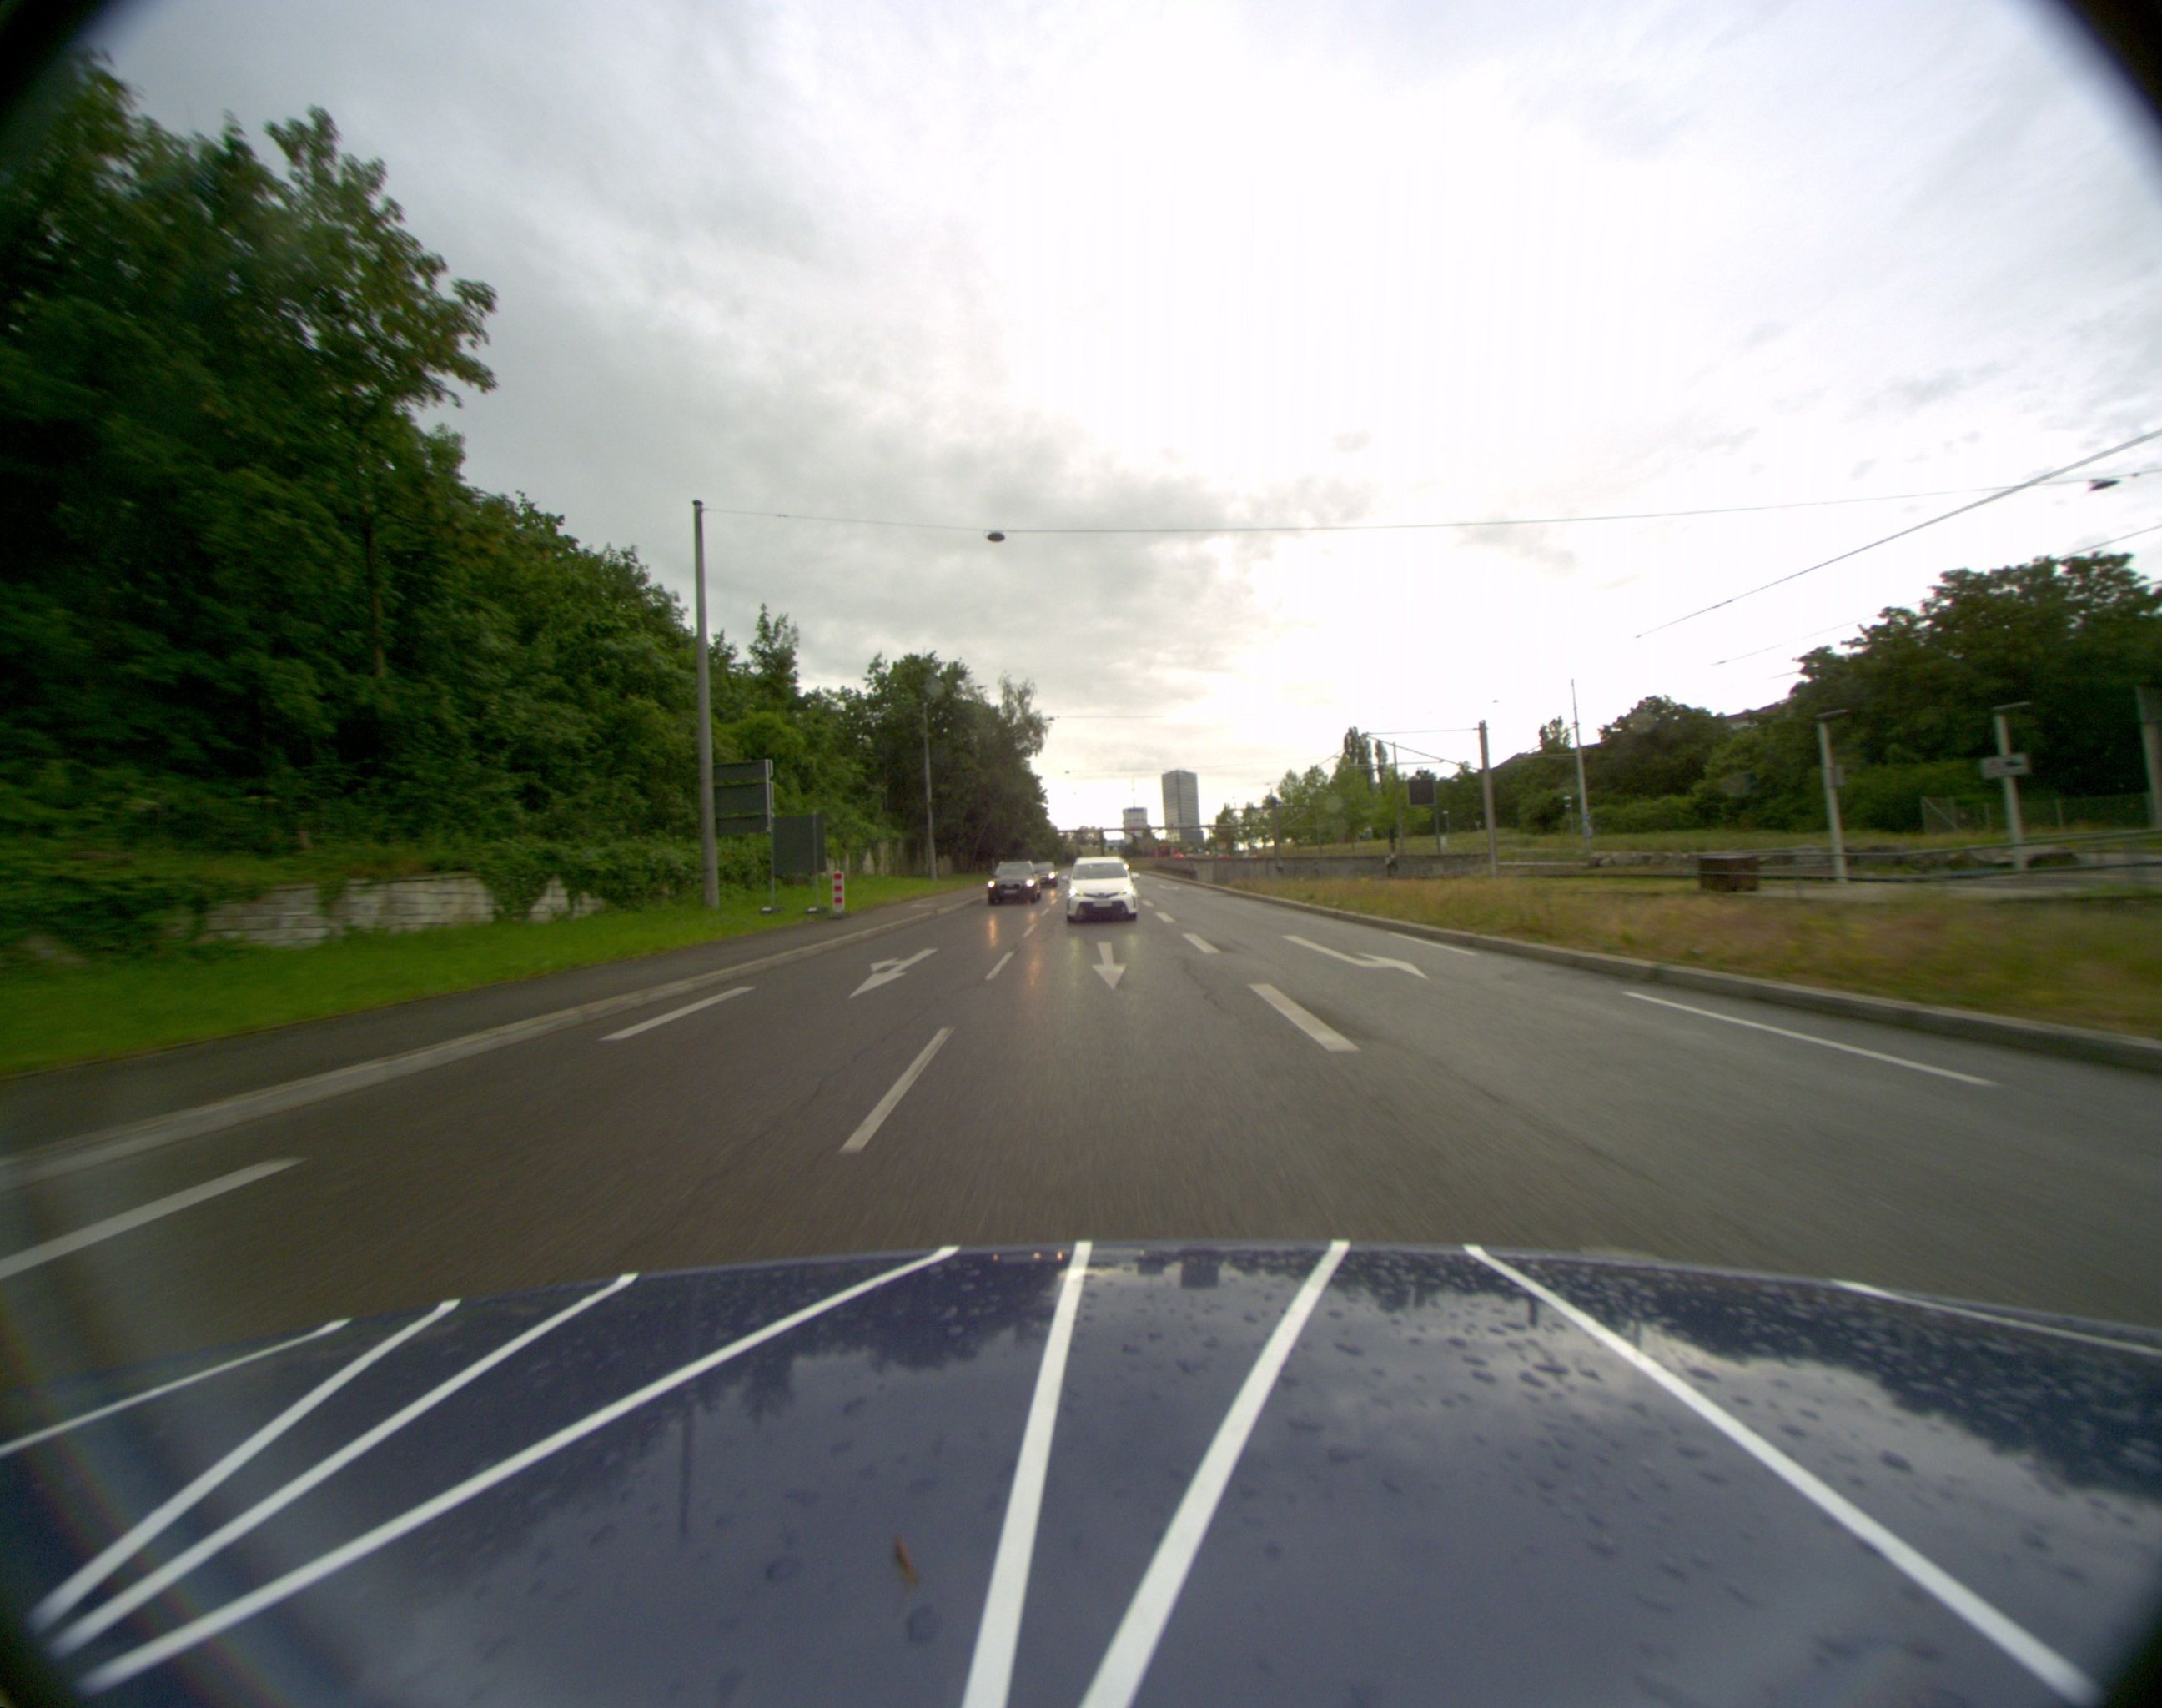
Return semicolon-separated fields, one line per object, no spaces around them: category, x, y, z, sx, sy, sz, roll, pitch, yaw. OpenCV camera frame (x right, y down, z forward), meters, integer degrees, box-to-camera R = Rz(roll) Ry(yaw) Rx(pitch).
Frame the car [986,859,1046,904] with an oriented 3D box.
car;-2.462;1.013;29.681;1.856;1.578;4.000;-2;0;1

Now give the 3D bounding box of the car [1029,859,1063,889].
car;-2.043;1.148;45.190;1.738;1.578;4.000;-2;0;1

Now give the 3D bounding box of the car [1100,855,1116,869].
car;3.181;0.970;89.884;1.738;1.578;4.000;-2;0;1

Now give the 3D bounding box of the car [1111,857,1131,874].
car;3.982;1.099;75.958;1.738;1.578;4.000;-2;0;1

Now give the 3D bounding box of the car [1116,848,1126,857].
car;7.654;-0.265;144.923;1.801;1.462;4.001;-2;-1;3

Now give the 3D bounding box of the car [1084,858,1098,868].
car;1.503;1.372;114.489;1.802;1.462;4.000;-2;-1;-3

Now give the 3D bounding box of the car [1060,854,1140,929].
car;0.426;0.892;20.025;1.856;1.741;3.999;-1;0;-1
